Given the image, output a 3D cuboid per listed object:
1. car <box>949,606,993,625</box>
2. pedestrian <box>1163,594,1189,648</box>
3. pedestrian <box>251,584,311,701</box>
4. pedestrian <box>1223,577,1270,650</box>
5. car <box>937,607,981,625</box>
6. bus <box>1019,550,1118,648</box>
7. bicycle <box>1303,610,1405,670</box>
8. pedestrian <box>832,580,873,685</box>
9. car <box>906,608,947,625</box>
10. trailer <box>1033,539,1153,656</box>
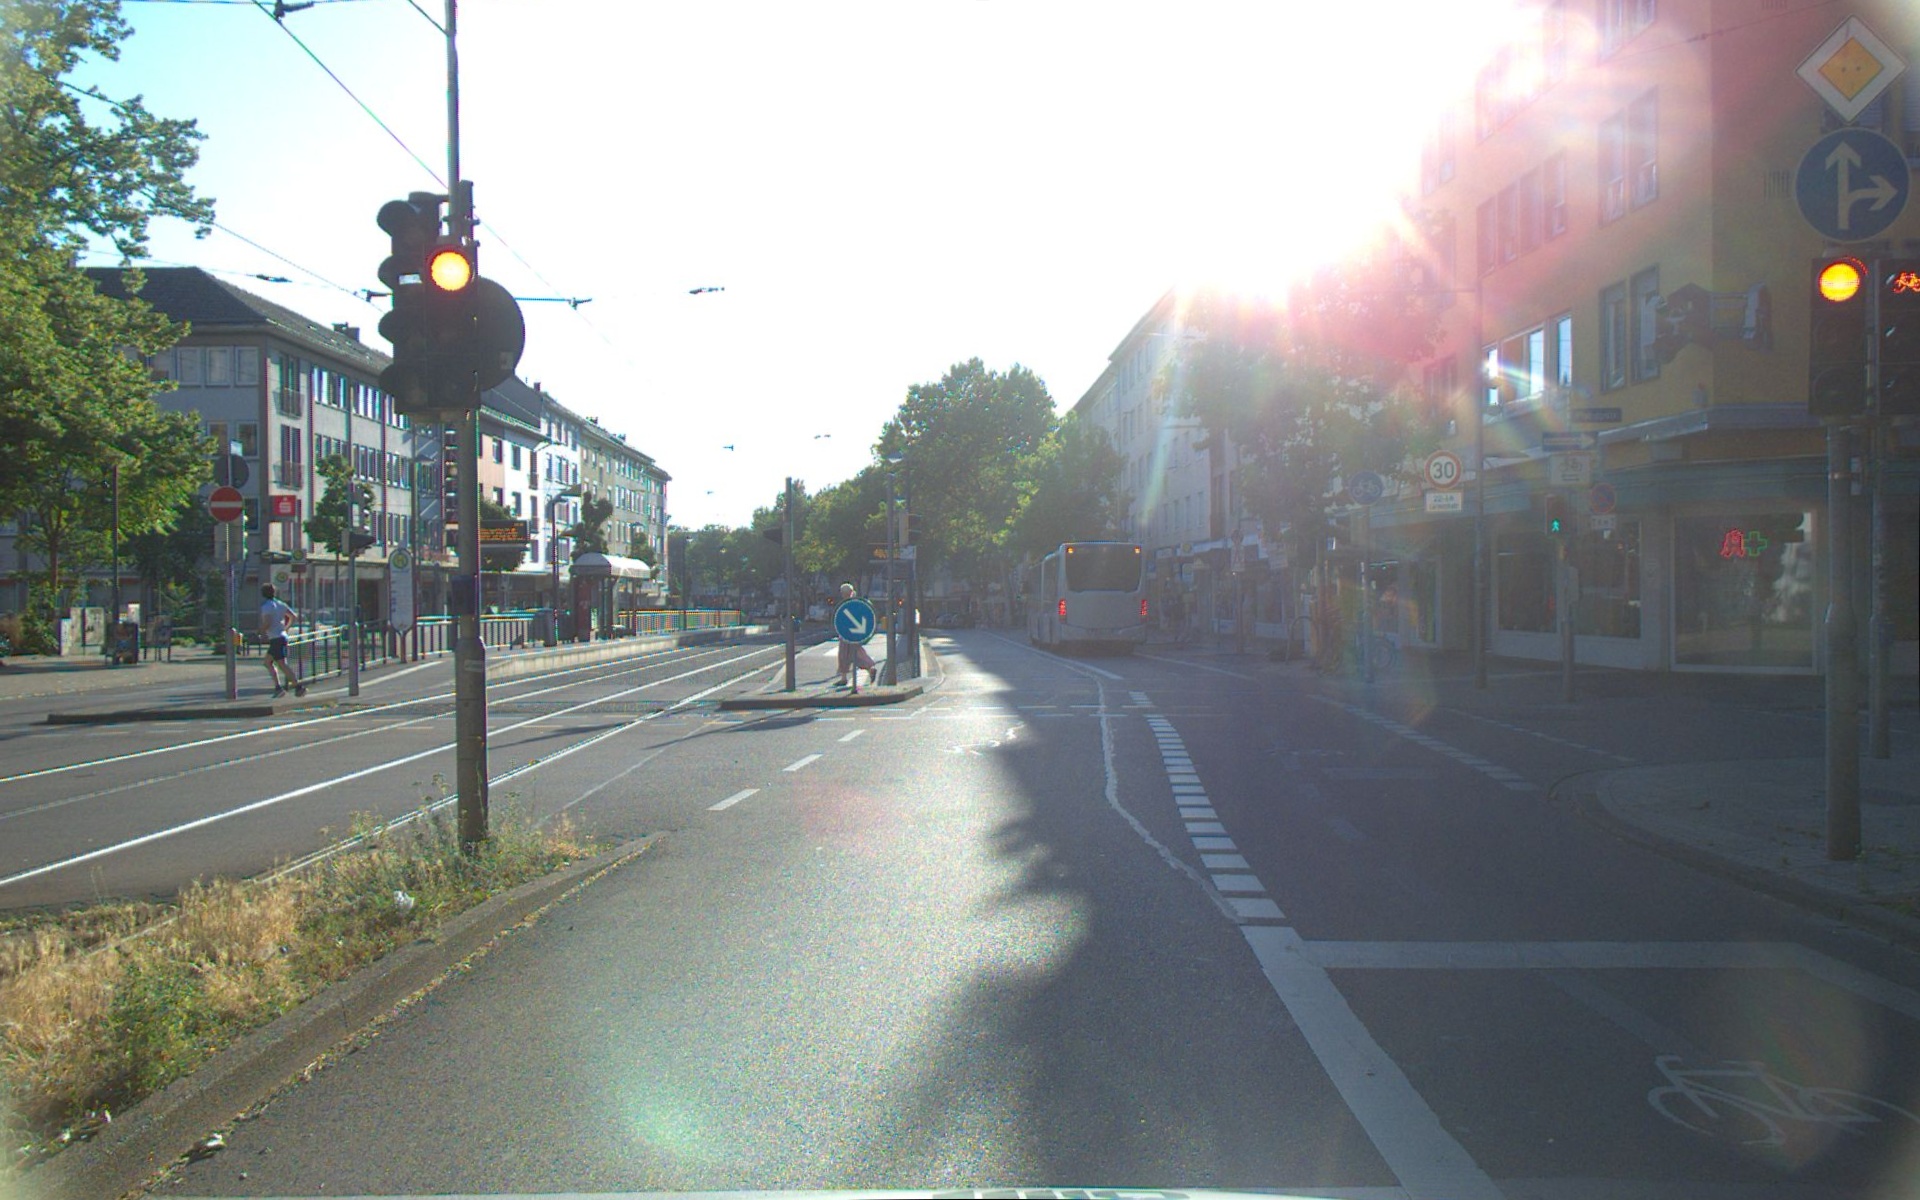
[{"bbox_3d":[1.027,1.493,158.595,3.848,1.729,1.815,-1,0,-30],"label":"car"},{"bbox_3d":[6.659,0.649,50.994,0.662,1.656,0.655,1,0,0],"label":"pedestrian"},{"bbox_3d":[-10.660,0.651,25.982,0.666,1.801,0.686,-1,0,-5],"label":"pedestrian"},{"bbox_3d":[8.120,0.386,46.832,0.949,2.049,0.903,2,-1,-42],"label":"pedestrian"},{"bbox_3d":[-0.111,1.538,161.268,3.848,1.729,1.815,-1,0,-30],"label":"car"},{"bbox_3d":[3.740,-0.034,59.034,2.755,3.156,9.092,1,0,-1],"label":"bus"},{"bbox_3d":[7.471,0.754,31.422,1.737,1.039,0.694,-2,0,-2],"label":"bicycle"},{"bbox_3d":[-1.871,0.564,28.913,0.666,1.801,0.687,0,0,0],"label":"pedestrian"},{"bbox_3d":[-3.384,1.621,166.325,3.848,1.624,1.674,-1,0,-30],"label":"car"},{"bbox_3d":[3.871,-0.061,50.084,2.755,3.165,8.792,1,0,-1],"label":"trailer"}]
